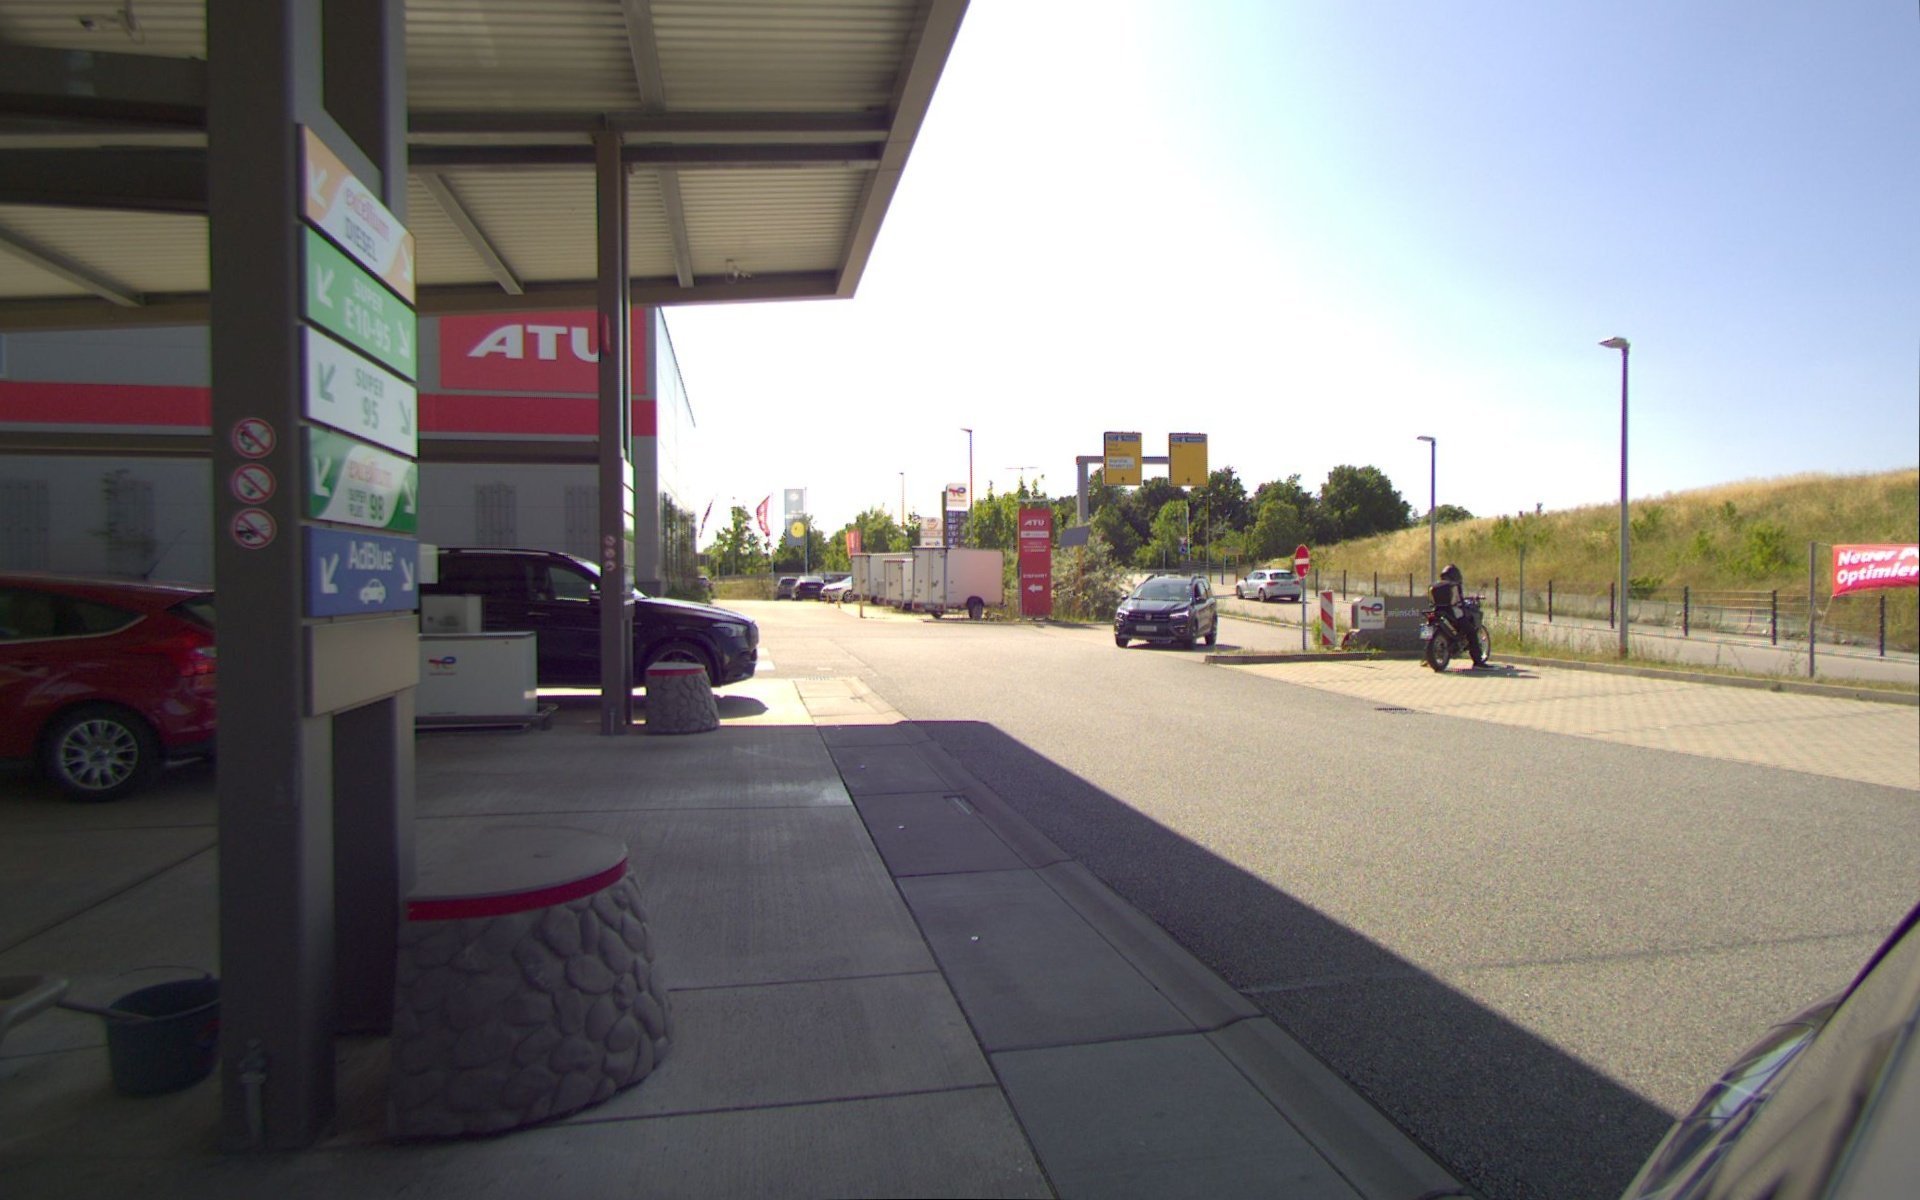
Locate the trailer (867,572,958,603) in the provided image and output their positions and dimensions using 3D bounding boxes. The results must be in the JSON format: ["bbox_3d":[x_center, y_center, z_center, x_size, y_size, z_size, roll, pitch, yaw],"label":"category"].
[{"bbox_3d":[-2.004,-0.549,43.165,3.650,1.297,1.578,-1,2,-37],"label":"trailer"}]

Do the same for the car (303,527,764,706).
[{"bbox_3d":[-4.765,0.186,12.054,4.697,1.874,2.039,1,1,-12],"label":"car"}]

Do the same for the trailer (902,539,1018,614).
[{"bbox_3d":[0.043,-0.826,35.227,1.991,2.457,3.942,2,2,40],"label":"trailer"}]

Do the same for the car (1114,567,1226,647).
[{"bbox_3d":[4.982,0.087,23.572,1.724,1.665,4.597,1,1,23],"label":"car"}]

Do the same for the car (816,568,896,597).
[{"bbox_3d":[-5.129,-0.877,50.073,1.677,1.334,3.775,2,2,44],"label":"car"}]

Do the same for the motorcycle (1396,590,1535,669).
[{"bbox_3d":[8.191,0.428,16.362,2.371,1.119,1.045,-2,2,-37],"label":"motorcycle"}]

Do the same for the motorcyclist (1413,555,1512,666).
[{"bbox_3d":[8.065,0.140,16.253,1.078,1.709,1.034,-1,2,-37],"label":"motorcyclist"}]

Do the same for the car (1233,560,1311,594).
[{"bbox_3d":[14.287,-1.087,46.598,1.672,1.441,4.104,0,3,-10],"label":"car"}]

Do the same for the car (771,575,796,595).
[{"bbox_3d":[-11.907,-1.024,68.135,1.647,1.319,3.732,0,1,-11],"label":"car"}]

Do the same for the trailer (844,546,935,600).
[{"bbox_3d":[-3.345,-1.297,48.330,3.929,2.457,1.998,-1,2,-40],"label":"trailer"}]

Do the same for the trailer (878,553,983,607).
[{"bbox_3d":[-1.164,-0.807,40.637,3.926,2.039,1.802,-1,1,-37],"label":"trailer"}]

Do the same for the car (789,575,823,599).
[{"bbox_3d":[-8.933,-0.771,58.489,1.646,1.334,3.844,0,2,-14],"label":"car"}]

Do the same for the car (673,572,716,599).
[{"bbox_3d":[-16.429,-0.904,62.552,1.648,1.560,3.841,0,2,-29],"label":"car"}]

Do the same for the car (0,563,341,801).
[{"bbox_3d":[-6.891,0.486,6.986,4.144,1.487,1.708,0,1,-12],"label":"car"}]

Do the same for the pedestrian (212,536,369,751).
[{"bbox_3d":[-5.623,0.344,8.556,0.909,1.724,0.705,0,1,-11],"label":"pedestrian"}]
